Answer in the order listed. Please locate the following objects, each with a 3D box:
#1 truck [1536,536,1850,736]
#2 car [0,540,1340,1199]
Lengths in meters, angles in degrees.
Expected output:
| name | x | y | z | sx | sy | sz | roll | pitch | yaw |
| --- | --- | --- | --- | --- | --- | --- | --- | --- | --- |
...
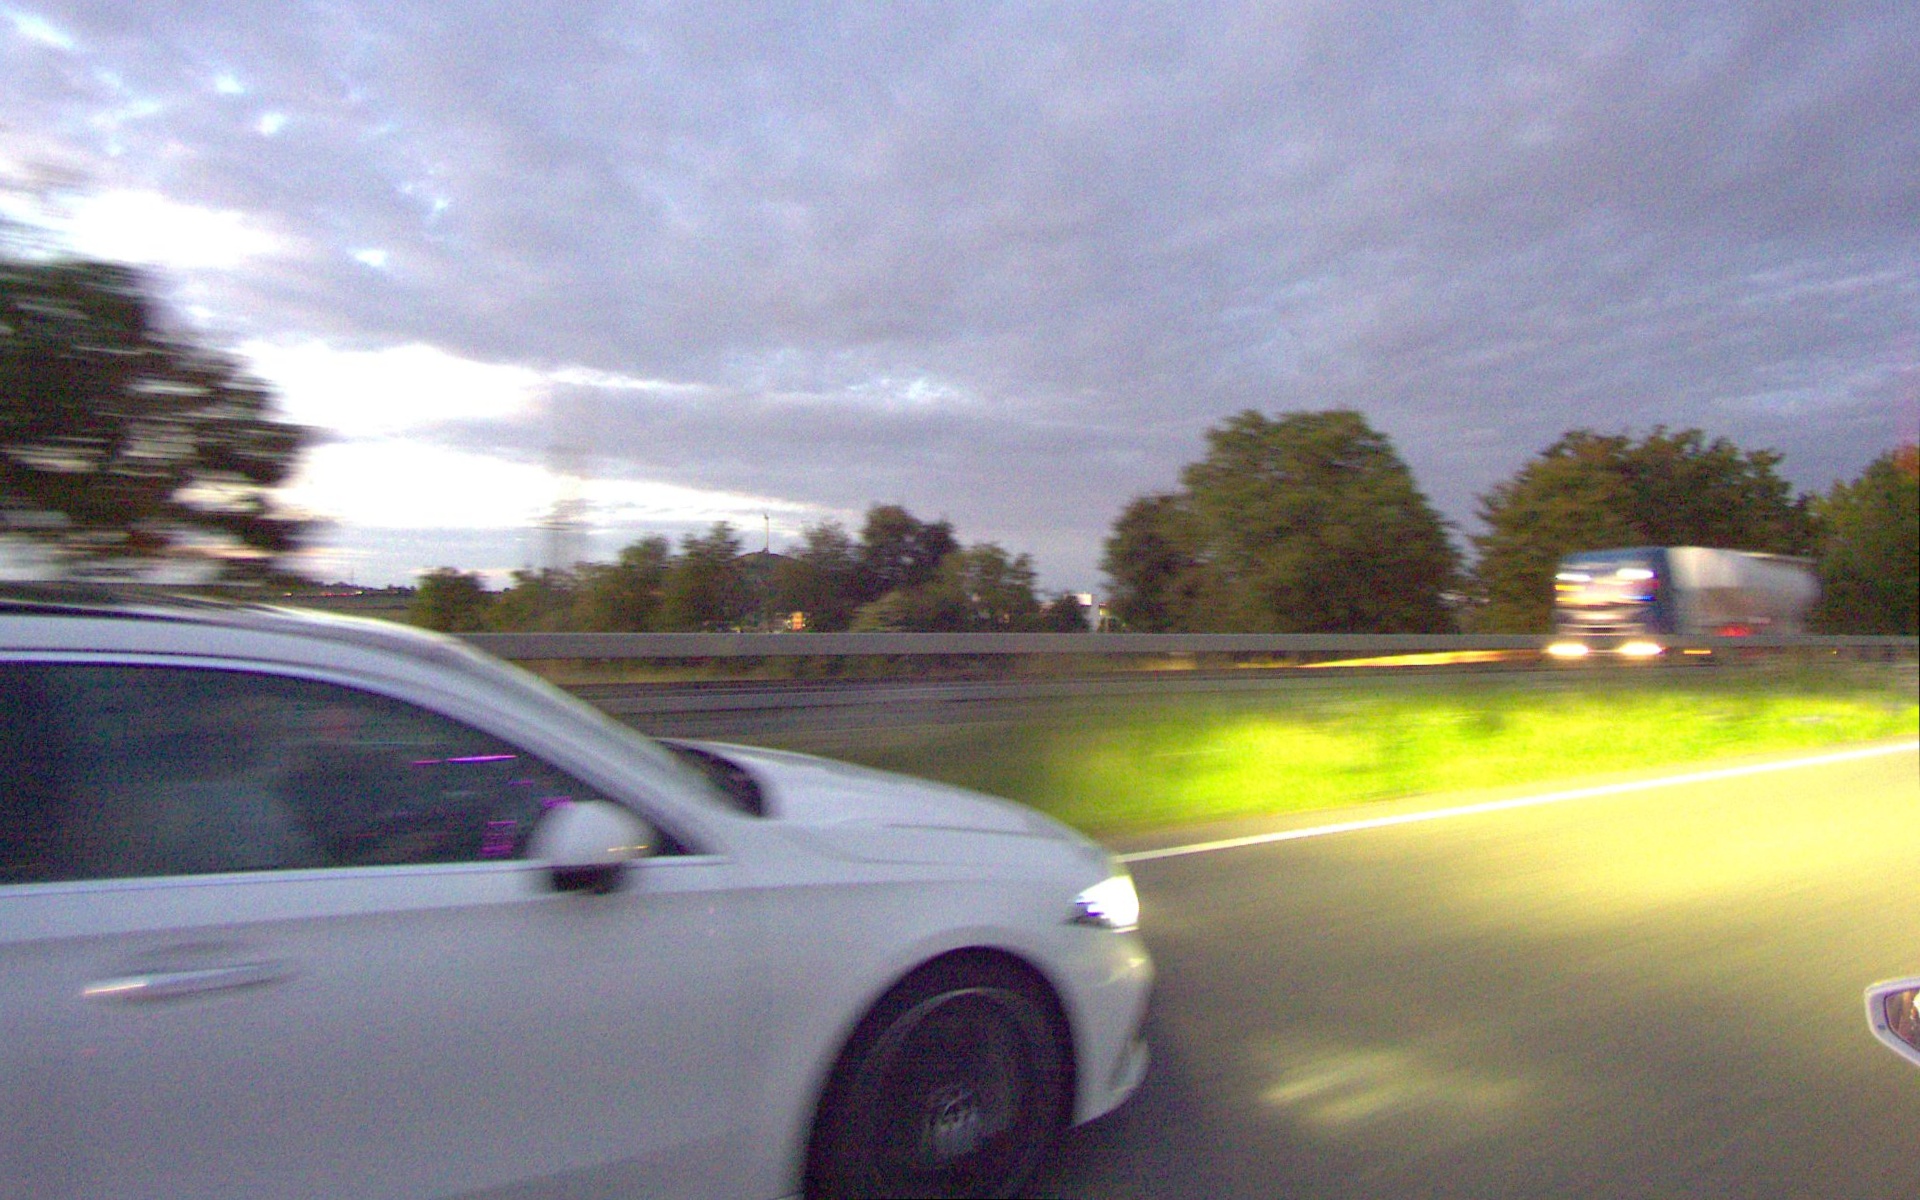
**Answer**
| name | x | y | z | sx | sy | sz | roll | pitch | yaw |
| --- | --- | --- | --- | --- | --- | --- | --- | --- | --- |
| truck | 23.148 | 1.105 | 31.348 | 12.464 | 5.326 | 3.186 | 2 | 1 | -31 |
| car | -1.316 | 0.678 | 2.360 | 4.526 | 1.510 | 1.634 | 2 | 0 | -30 |
